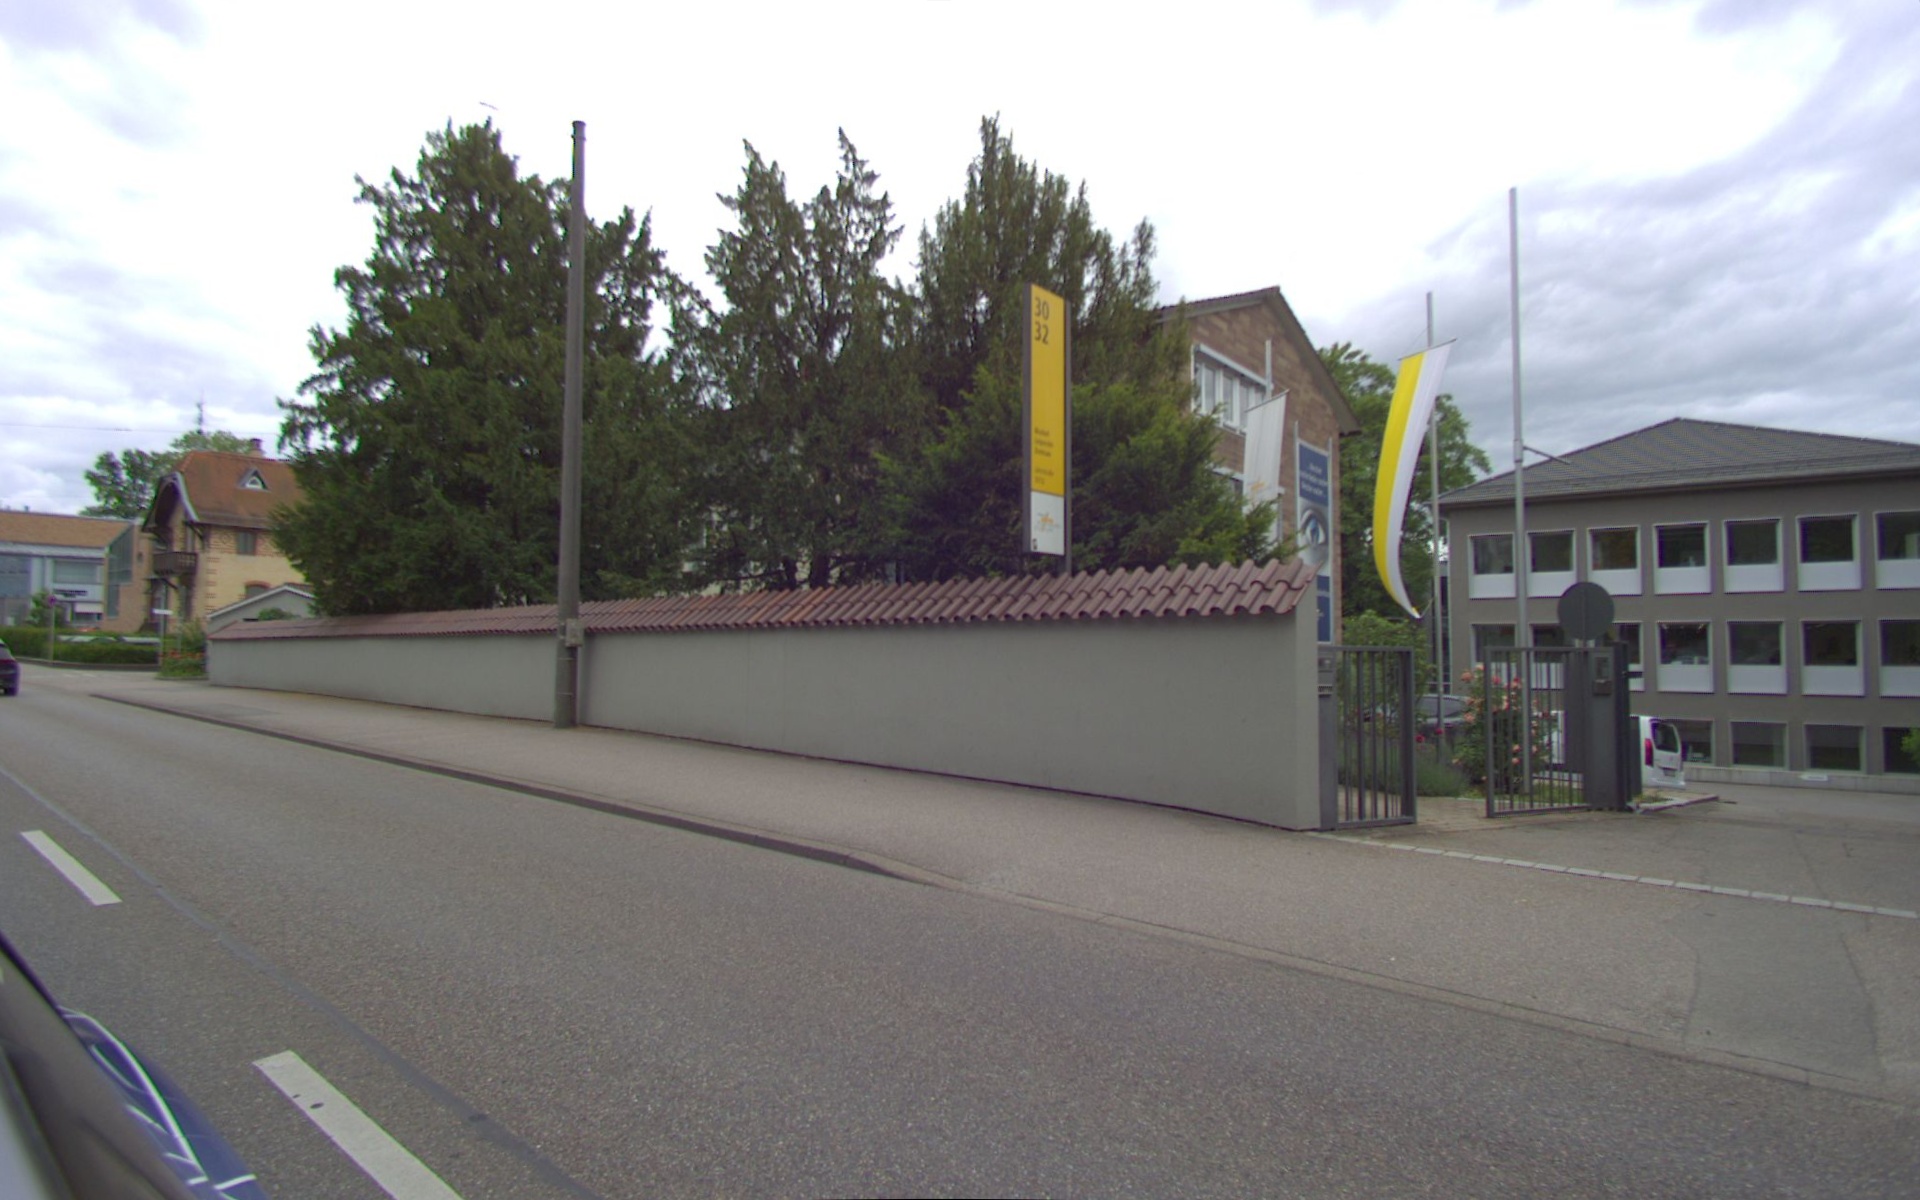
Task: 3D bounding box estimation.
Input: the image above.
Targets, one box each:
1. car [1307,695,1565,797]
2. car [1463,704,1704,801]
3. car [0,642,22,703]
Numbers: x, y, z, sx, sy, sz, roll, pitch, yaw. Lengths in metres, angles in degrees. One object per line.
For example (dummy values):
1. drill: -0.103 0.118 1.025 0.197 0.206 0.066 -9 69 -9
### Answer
1. car: 8.372 2.519 18.100 1.623 1.517 3.866 5 -6 -36
2. car: 13.780 3.295 22.598 1.852 1.819 4.158 5 -6 -36
3. car: -24.820 1.759 25.033 3.995 1.439 1.768 -2 -4 39
